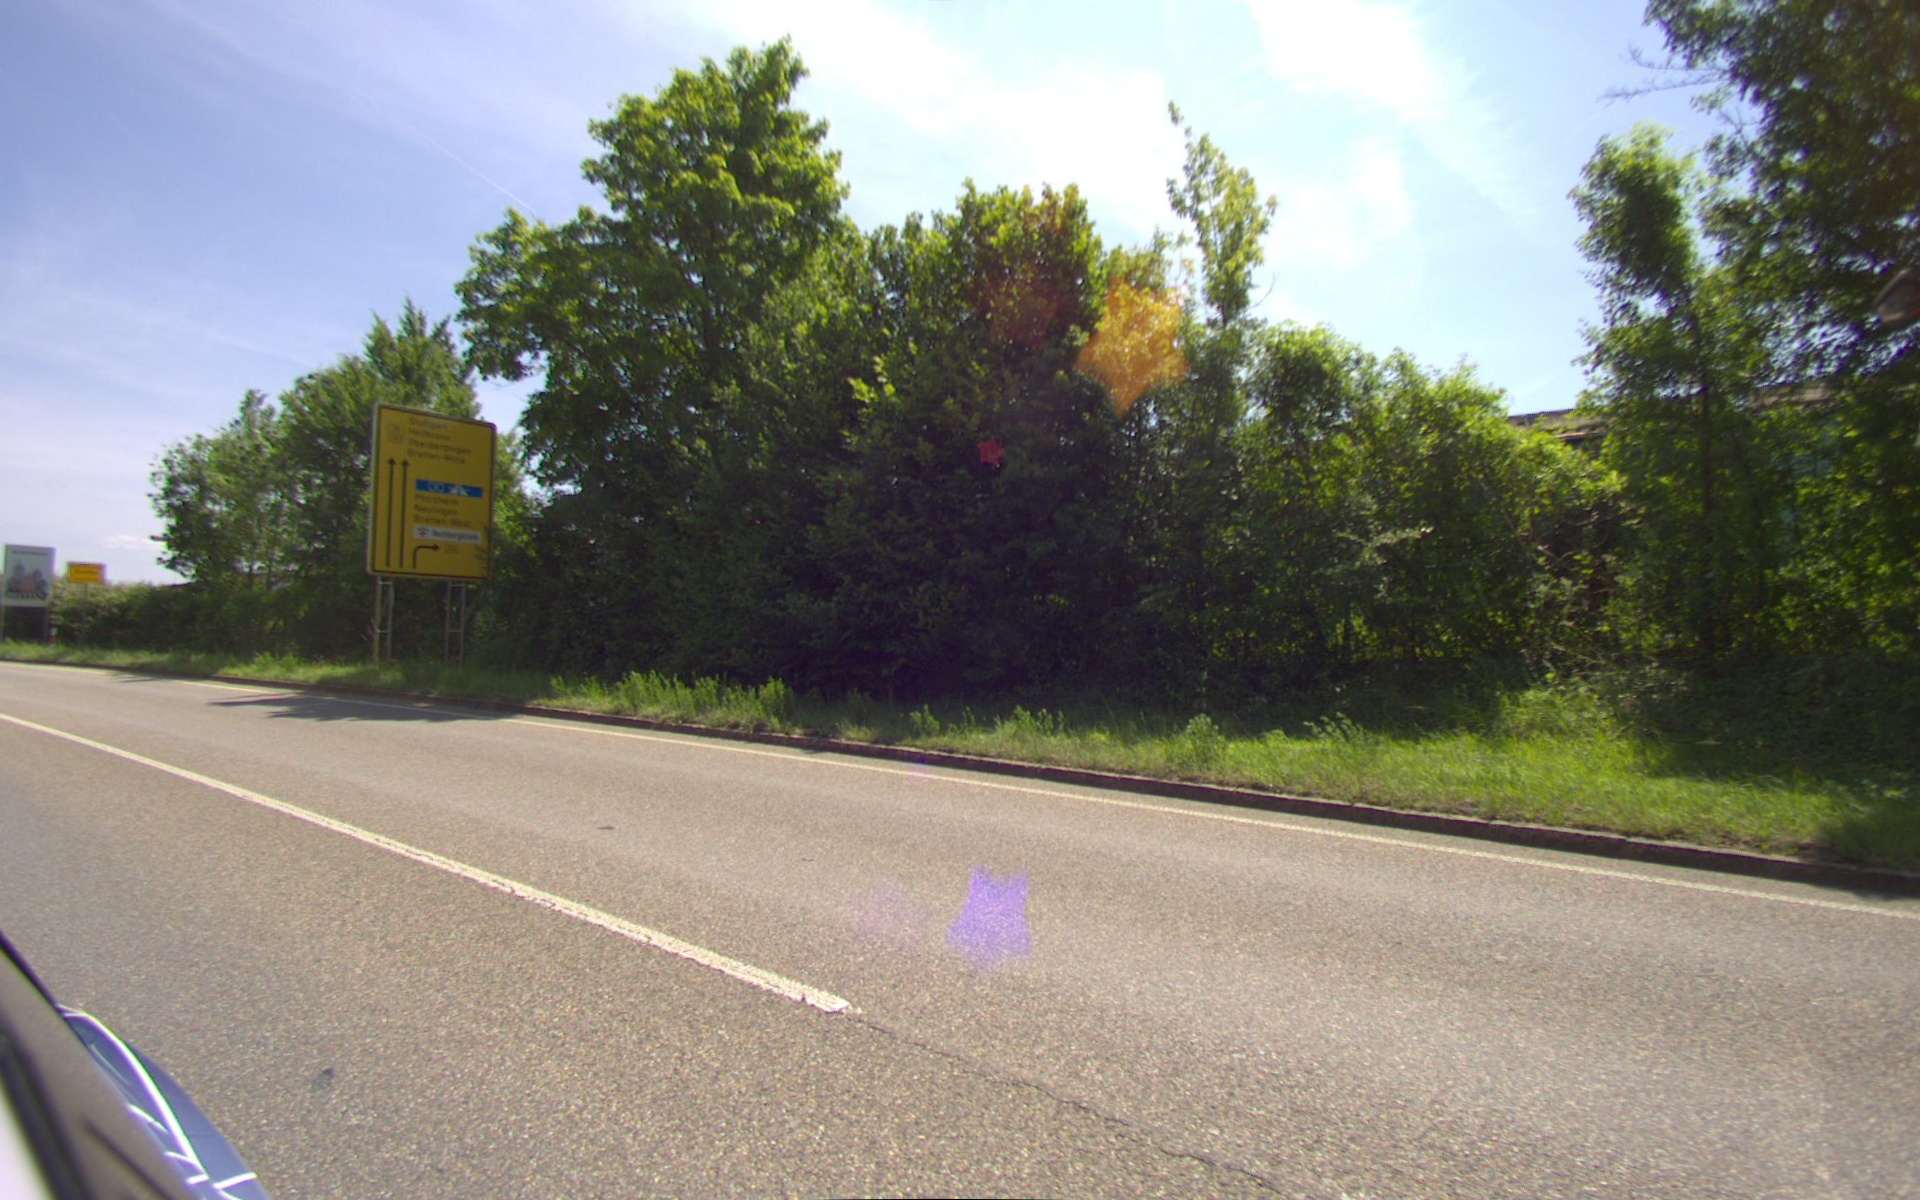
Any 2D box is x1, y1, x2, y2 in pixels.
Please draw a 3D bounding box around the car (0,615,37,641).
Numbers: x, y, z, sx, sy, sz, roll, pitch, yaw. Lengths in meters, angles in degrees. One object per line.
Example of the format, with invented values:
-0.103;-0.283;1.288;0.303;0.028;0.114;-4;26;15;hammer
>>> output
-53.092;1.510;55.043;1.997;1.342;3.949;-2;-5;38;car
